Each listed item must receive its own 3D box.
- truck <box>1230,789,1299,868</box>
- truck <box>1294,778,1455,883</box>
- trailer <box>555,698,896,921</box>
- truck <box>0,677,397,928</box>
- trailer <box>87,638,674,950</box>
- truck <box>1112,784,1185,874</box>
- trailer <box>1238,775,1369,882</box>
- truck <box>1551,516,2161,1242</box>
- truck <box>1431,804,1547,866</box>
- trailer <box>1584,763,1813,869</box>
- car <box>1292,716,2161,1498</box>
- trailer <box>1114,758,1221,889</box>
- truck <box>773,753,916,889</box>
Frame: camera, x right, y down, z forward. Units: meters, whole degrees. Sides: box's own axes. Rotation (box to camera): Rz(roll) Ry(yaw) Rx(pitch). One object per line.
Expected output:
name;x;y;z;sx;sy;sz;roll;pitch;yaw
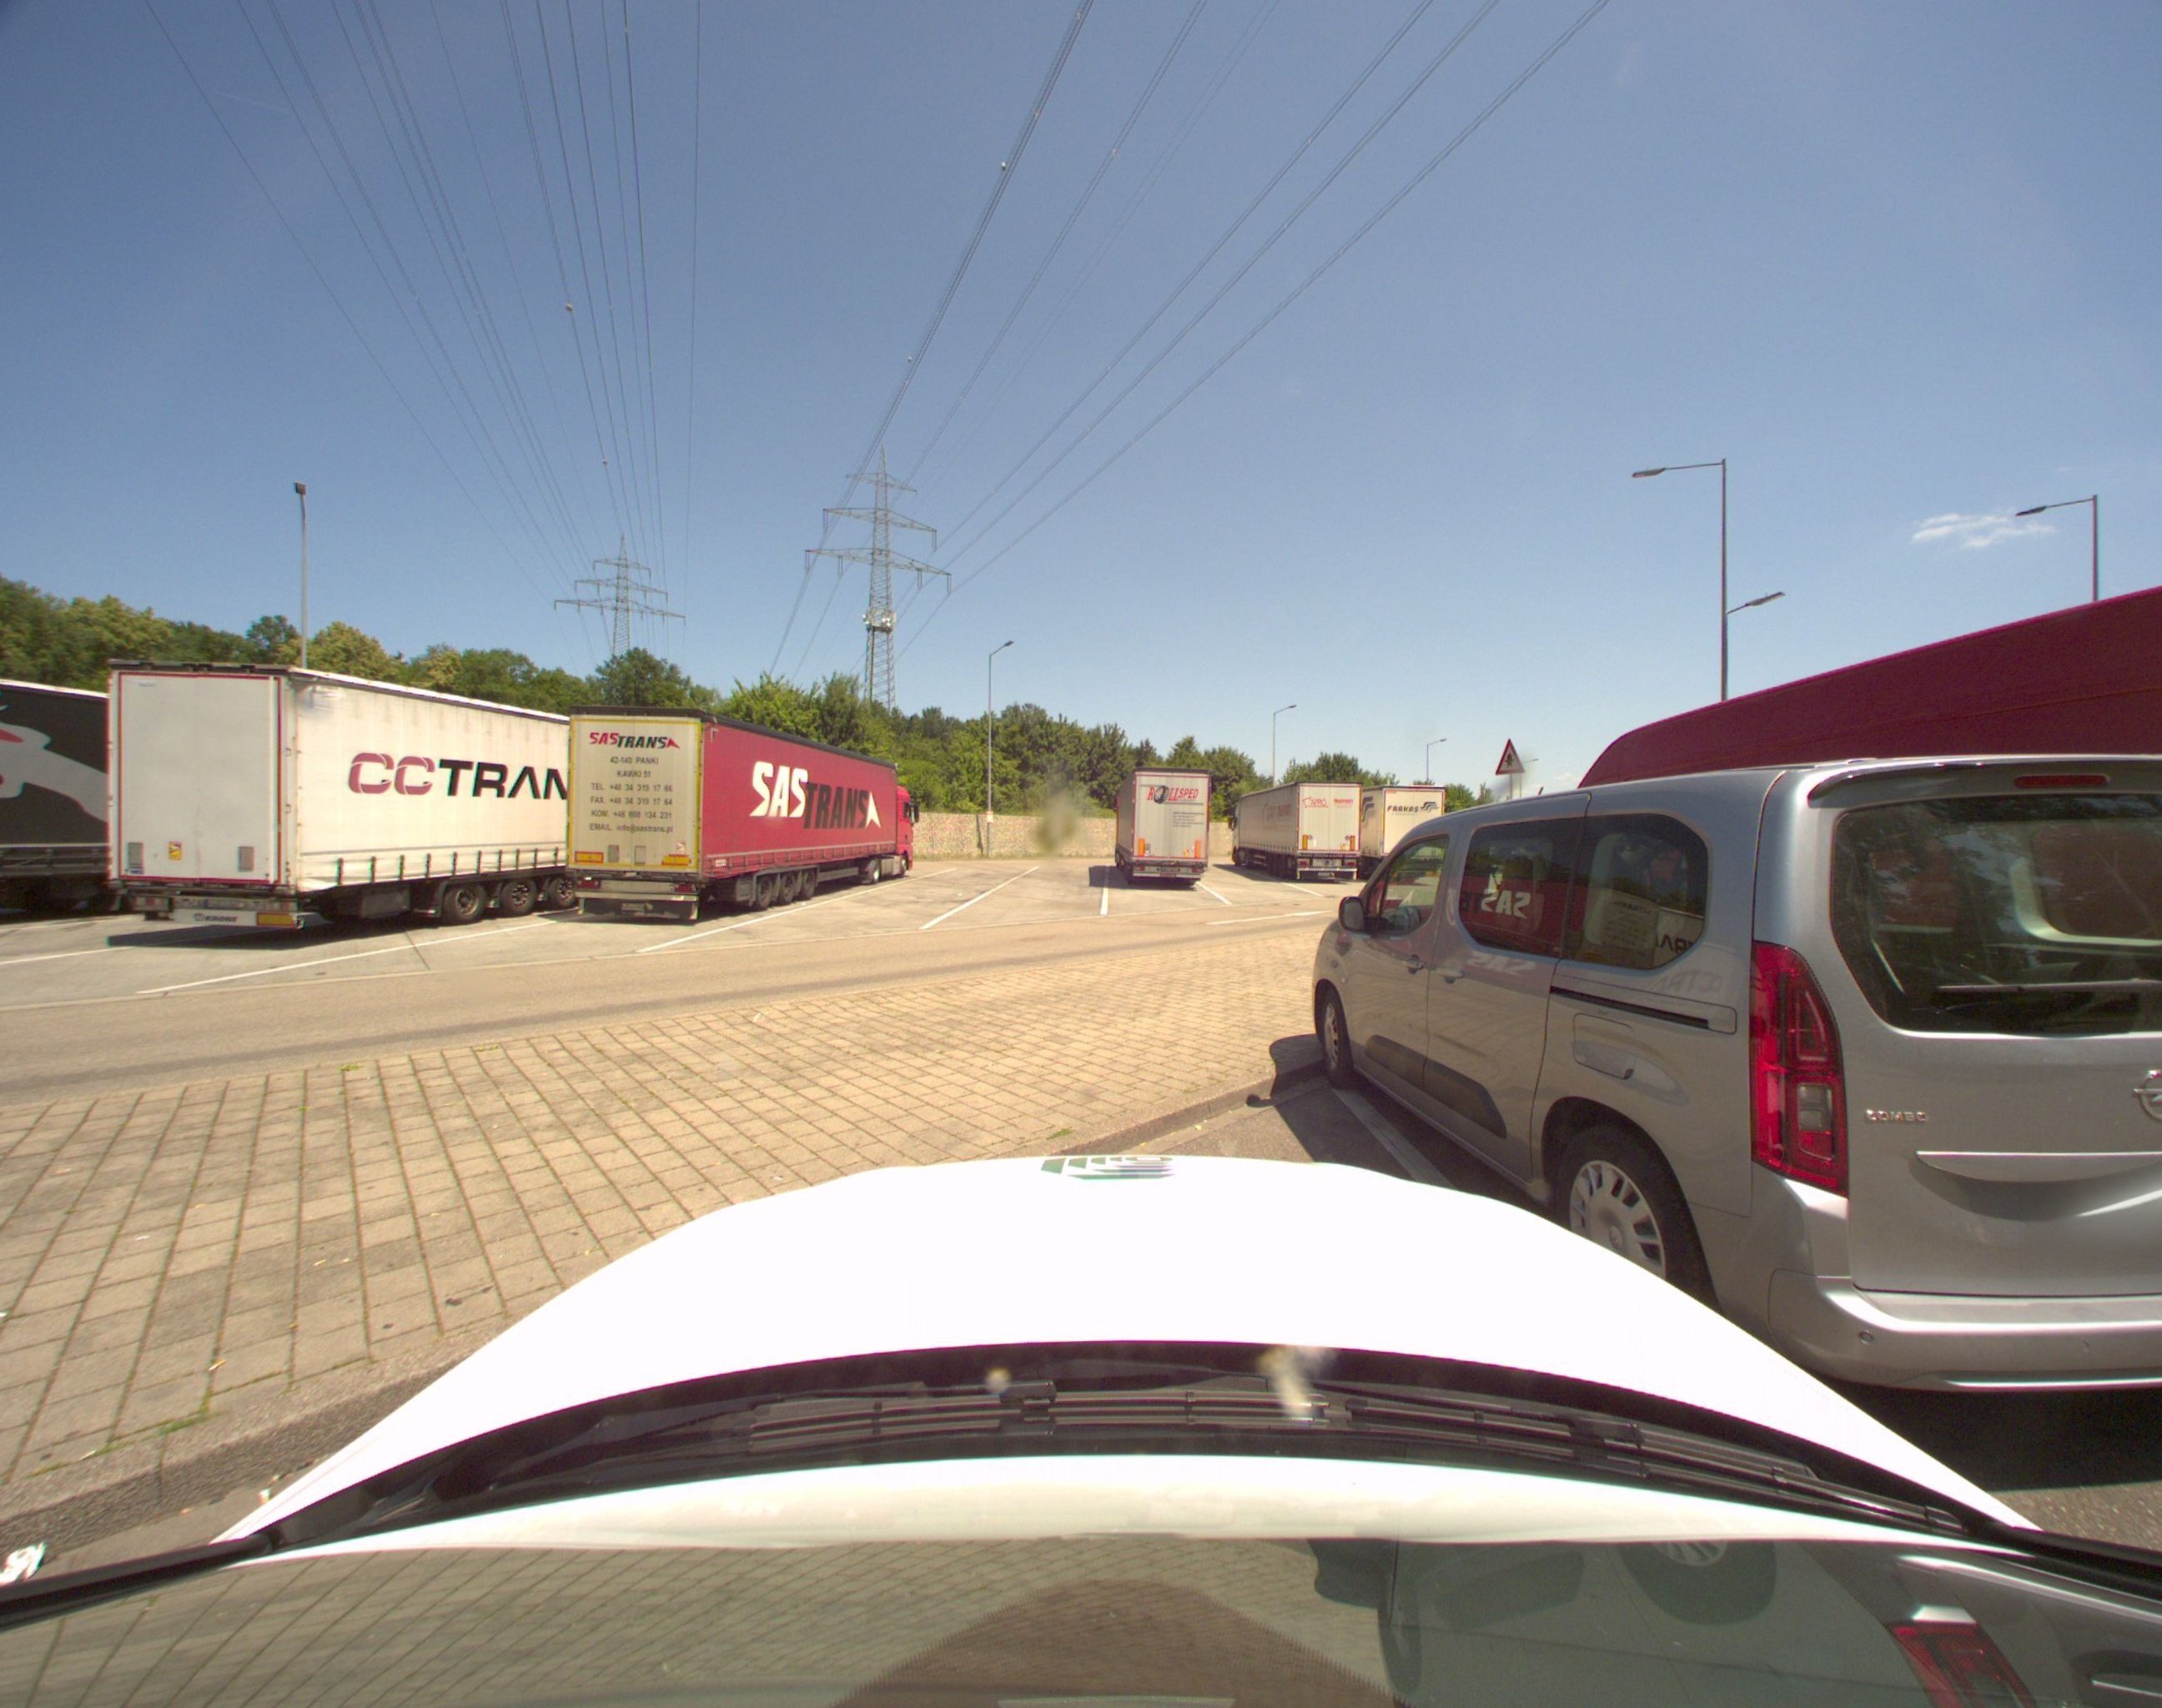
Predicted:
truck;10.129;-1.394;45.423;2.747;4.124;5.286;-1;1;2
truck;13.577;-1.057;39.665;2.894;4.124;14.533;2;1;2
trailer;-8.002;-0.918;21.520;2.739;4.057;13.292;-1;1;2
truck;-18.508;-0.857;15.974;2.627;4.018;8.640;-1;1;2
trailer;-12.096;-0.896;16.081;2.734;4.263;9.740;0;1;3
truck;3.130;-1.222;39.521;3.016;3.928;6.848;1;2;1
trailer;9.942;-1.103;38.420;2.865;4.124;13.577;0;1;2
truck;5.104;0.052;4.883;1.983;2.623;5.312;-1;1;6
truck;24.464;-1.128;49.447;3.013;3.437;8.534;-1;1;2
trailer;26.334;-1.591;34.822;8.661;4.257;2.832;-1;0;-12
car;2.475;0.531;3.861;1.821;1.753;3.998;-1;1;-2
trailer;3.048;-1.188;32.749;3.059;4.227;12.811;1;2;1
truck;-7.836;-1.052;28.025;2.733;4.081;6.832;-1;1;1
